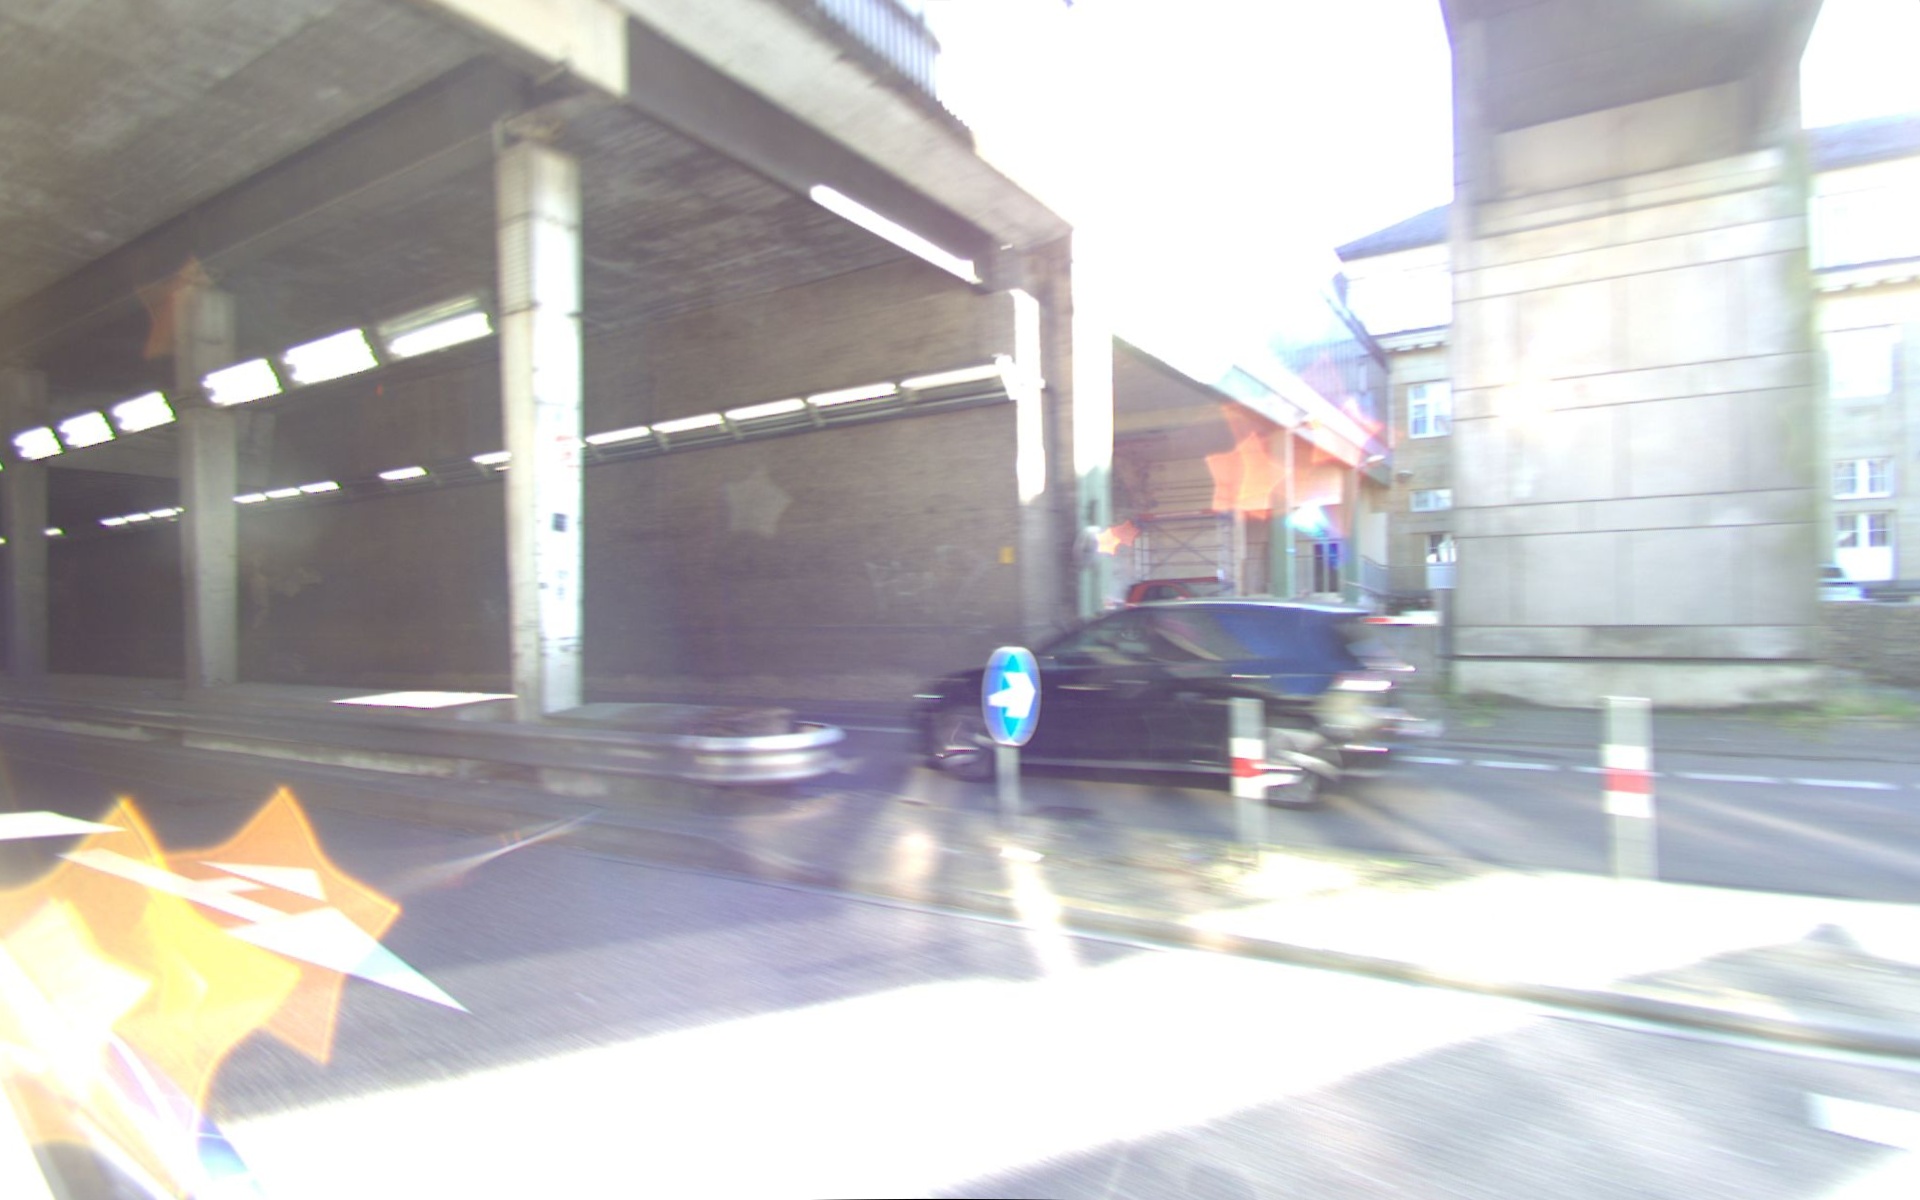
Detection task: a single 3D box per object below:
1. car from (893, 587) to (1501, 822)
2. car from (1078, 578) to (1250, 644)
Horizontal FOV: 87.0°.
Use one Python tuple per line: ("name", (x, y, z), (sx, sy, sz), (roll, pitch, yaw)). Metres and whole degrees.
("car", (1.745, 0.684, 8.102), (4.403, 1.415, 1.738), (-2, 0, 34))
("car", (5.245, 0.304, 26.165), (3.987, 1.591, 1.679), (-2, 0, 33))
